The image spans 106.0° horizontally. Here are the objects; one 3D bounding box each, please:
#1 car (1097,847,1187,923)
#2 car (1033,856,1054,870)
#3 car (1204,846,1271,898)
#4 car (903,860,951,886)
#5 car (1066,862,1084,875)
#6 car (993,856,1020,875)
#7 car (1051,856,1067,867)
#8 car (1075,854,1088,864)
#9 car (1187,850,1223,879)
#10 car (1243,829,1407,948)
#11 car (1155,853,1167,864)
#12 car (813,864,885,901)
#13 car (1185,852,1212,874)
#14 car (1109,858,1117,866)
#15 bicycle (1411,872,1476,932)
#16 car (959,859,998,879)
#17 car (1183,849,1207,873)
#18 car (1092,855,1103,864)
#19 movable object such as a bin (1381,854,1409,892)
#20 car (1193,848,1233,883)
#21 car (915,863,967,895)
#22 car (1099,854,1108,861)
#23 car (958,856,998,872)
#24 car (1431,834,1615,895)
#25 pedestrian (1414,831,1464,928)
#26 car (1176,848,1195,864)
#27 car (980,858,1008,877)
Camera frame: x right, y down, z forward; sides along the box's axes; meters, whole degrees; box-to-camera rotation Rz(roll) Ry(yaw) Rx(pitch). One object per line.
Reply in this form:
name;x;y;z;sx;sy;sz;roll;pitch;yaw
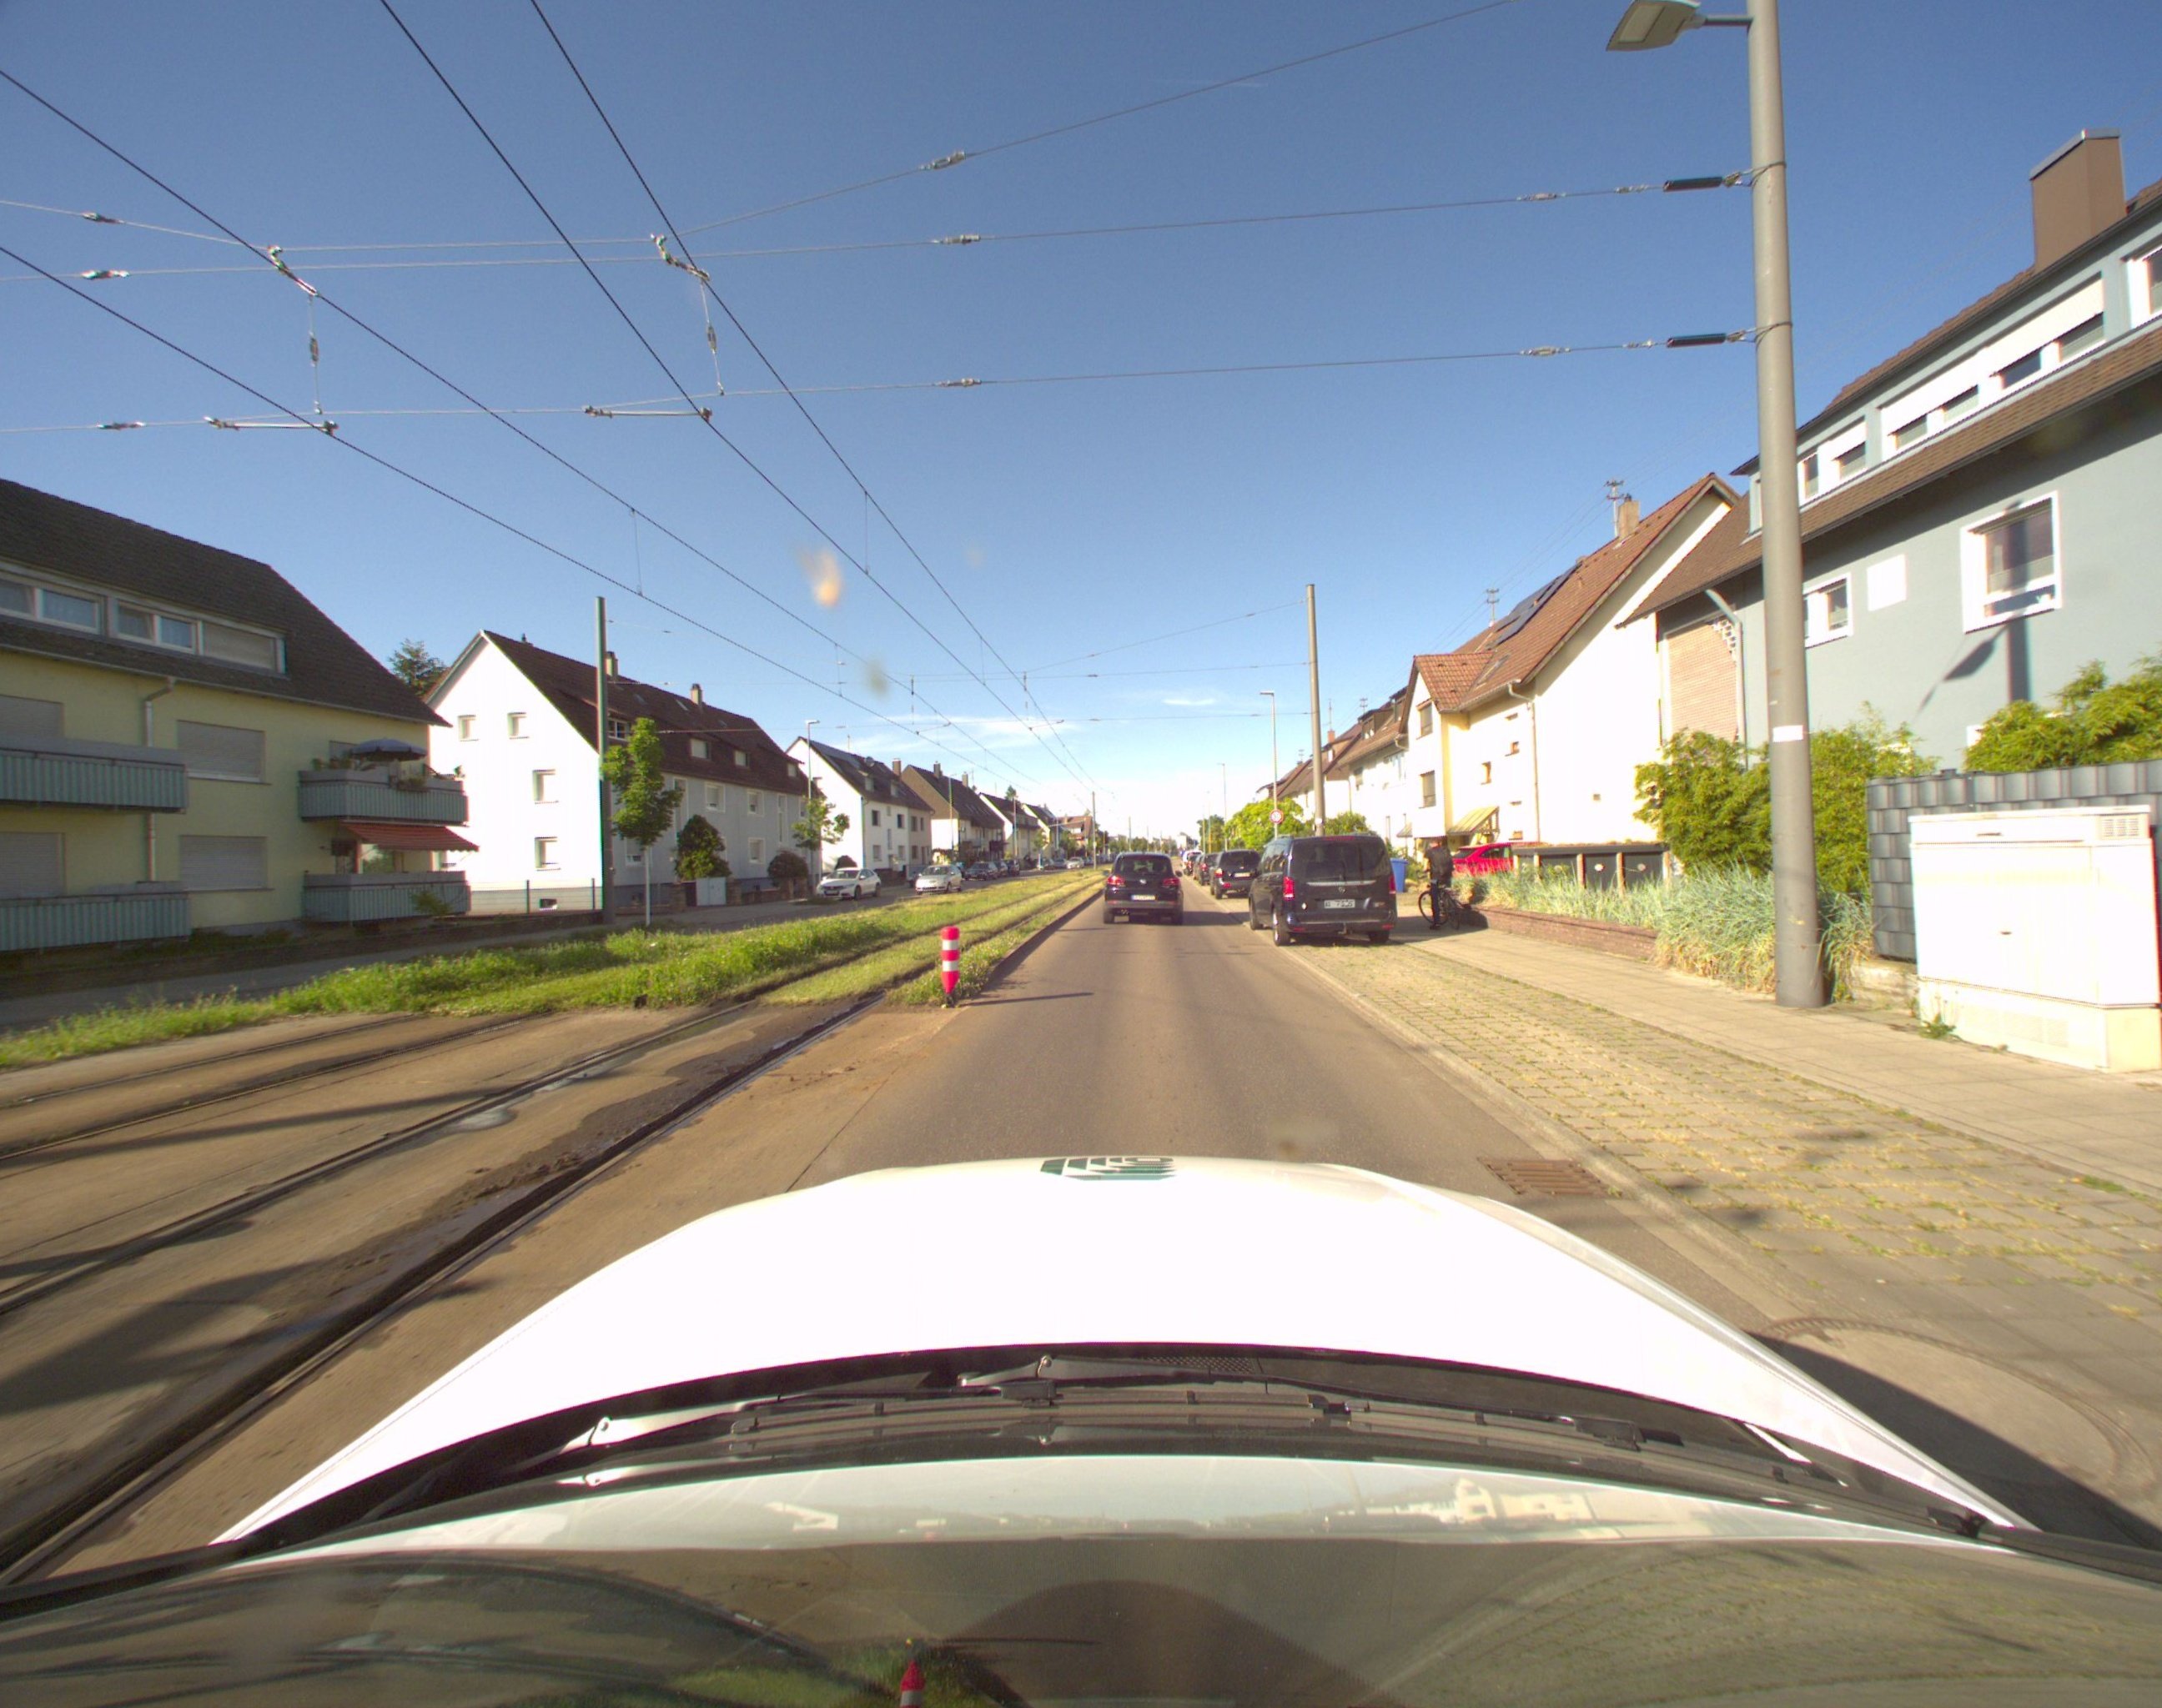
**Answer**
car;1.393;0.693;20.023;1.807;1.671;4.255;0;-1;-1
car;-4.528;1.063;97.994;1.608;1.453;3.729;-2;0;11
car;5.515;0.590;29.158;1.845;1.659;4.479;-2;0;5
car;-9.667;1.156;51.548;1.781;1.462;4.174;-2;0;6
car;-0.738;1.798;100.320;1.699;1.491;4.031;-2;-2;6
car;-6.996;1.060;76.660;1.795;1.597;4.815;-2;0;3
car;-3.012;1.061;110.677;1.610;1.409;3.724;-2;-2;6
car;0.127;0.816;133.663;1.650;1.496;3.586;-2;0;6
car;6.963;0.591;45.961;1.608;1.475;4.454;-2;-1;4
car;4.351;0.554;15.400;1.952;1.836;4.933;-2;0;5
car;10.600;0.551;108.118;1.564;1.391;3.620;-2;0;6
car;-10.668;1.265;37.714;1.684;1.518;4.222;-2;0;6
car;8.322;0.647;57.958;1.662;1.453;4.132;-2;-1;6
car;6.962;1.713;178.431;1.457;1.677;3.293;-2;-1;6
bicycle;6.528;0.841;14.736;0.597;0.979;1.565;-4;-1;7
car;-8.197;1.188;65.726;1.866;1.523;4.892;-1;0;8
car;8.875;0.513;63.648;1.681;1.776;4.664;-2;0;6
car;3.200;1.130;155.874;1.651;1.581;4.006;-2;-2;6
movable object such as a bin;9.684;0.584;25.124;0.665;1.114;0.318;-3;-1;5
car;6.384;0.524;39.827;1.657;1.547;3.842;-4;0;6
car;-6.915;1.190;40.454;1.542;1.412;3.665;-2;0;6
car;4.520;0.733;161.182;1.508;1.361;3.595;-2;0;5
car;-11.467;1.110;91.020;4.150;1.616;1.760;-2;0;1
car;12.370;0.274;23.027;4.146;1.467;1.902;-2;1;4
pedestrian;6.538;0.455;14.904;0.579;1.723;0.716;-2;0;6
car;12.409;0.221;96.969;1.983;1.862;4.926;-2;0;6
car;-7.599;1.166;71.162;1.513;1.475;4.208;-2;0;6
